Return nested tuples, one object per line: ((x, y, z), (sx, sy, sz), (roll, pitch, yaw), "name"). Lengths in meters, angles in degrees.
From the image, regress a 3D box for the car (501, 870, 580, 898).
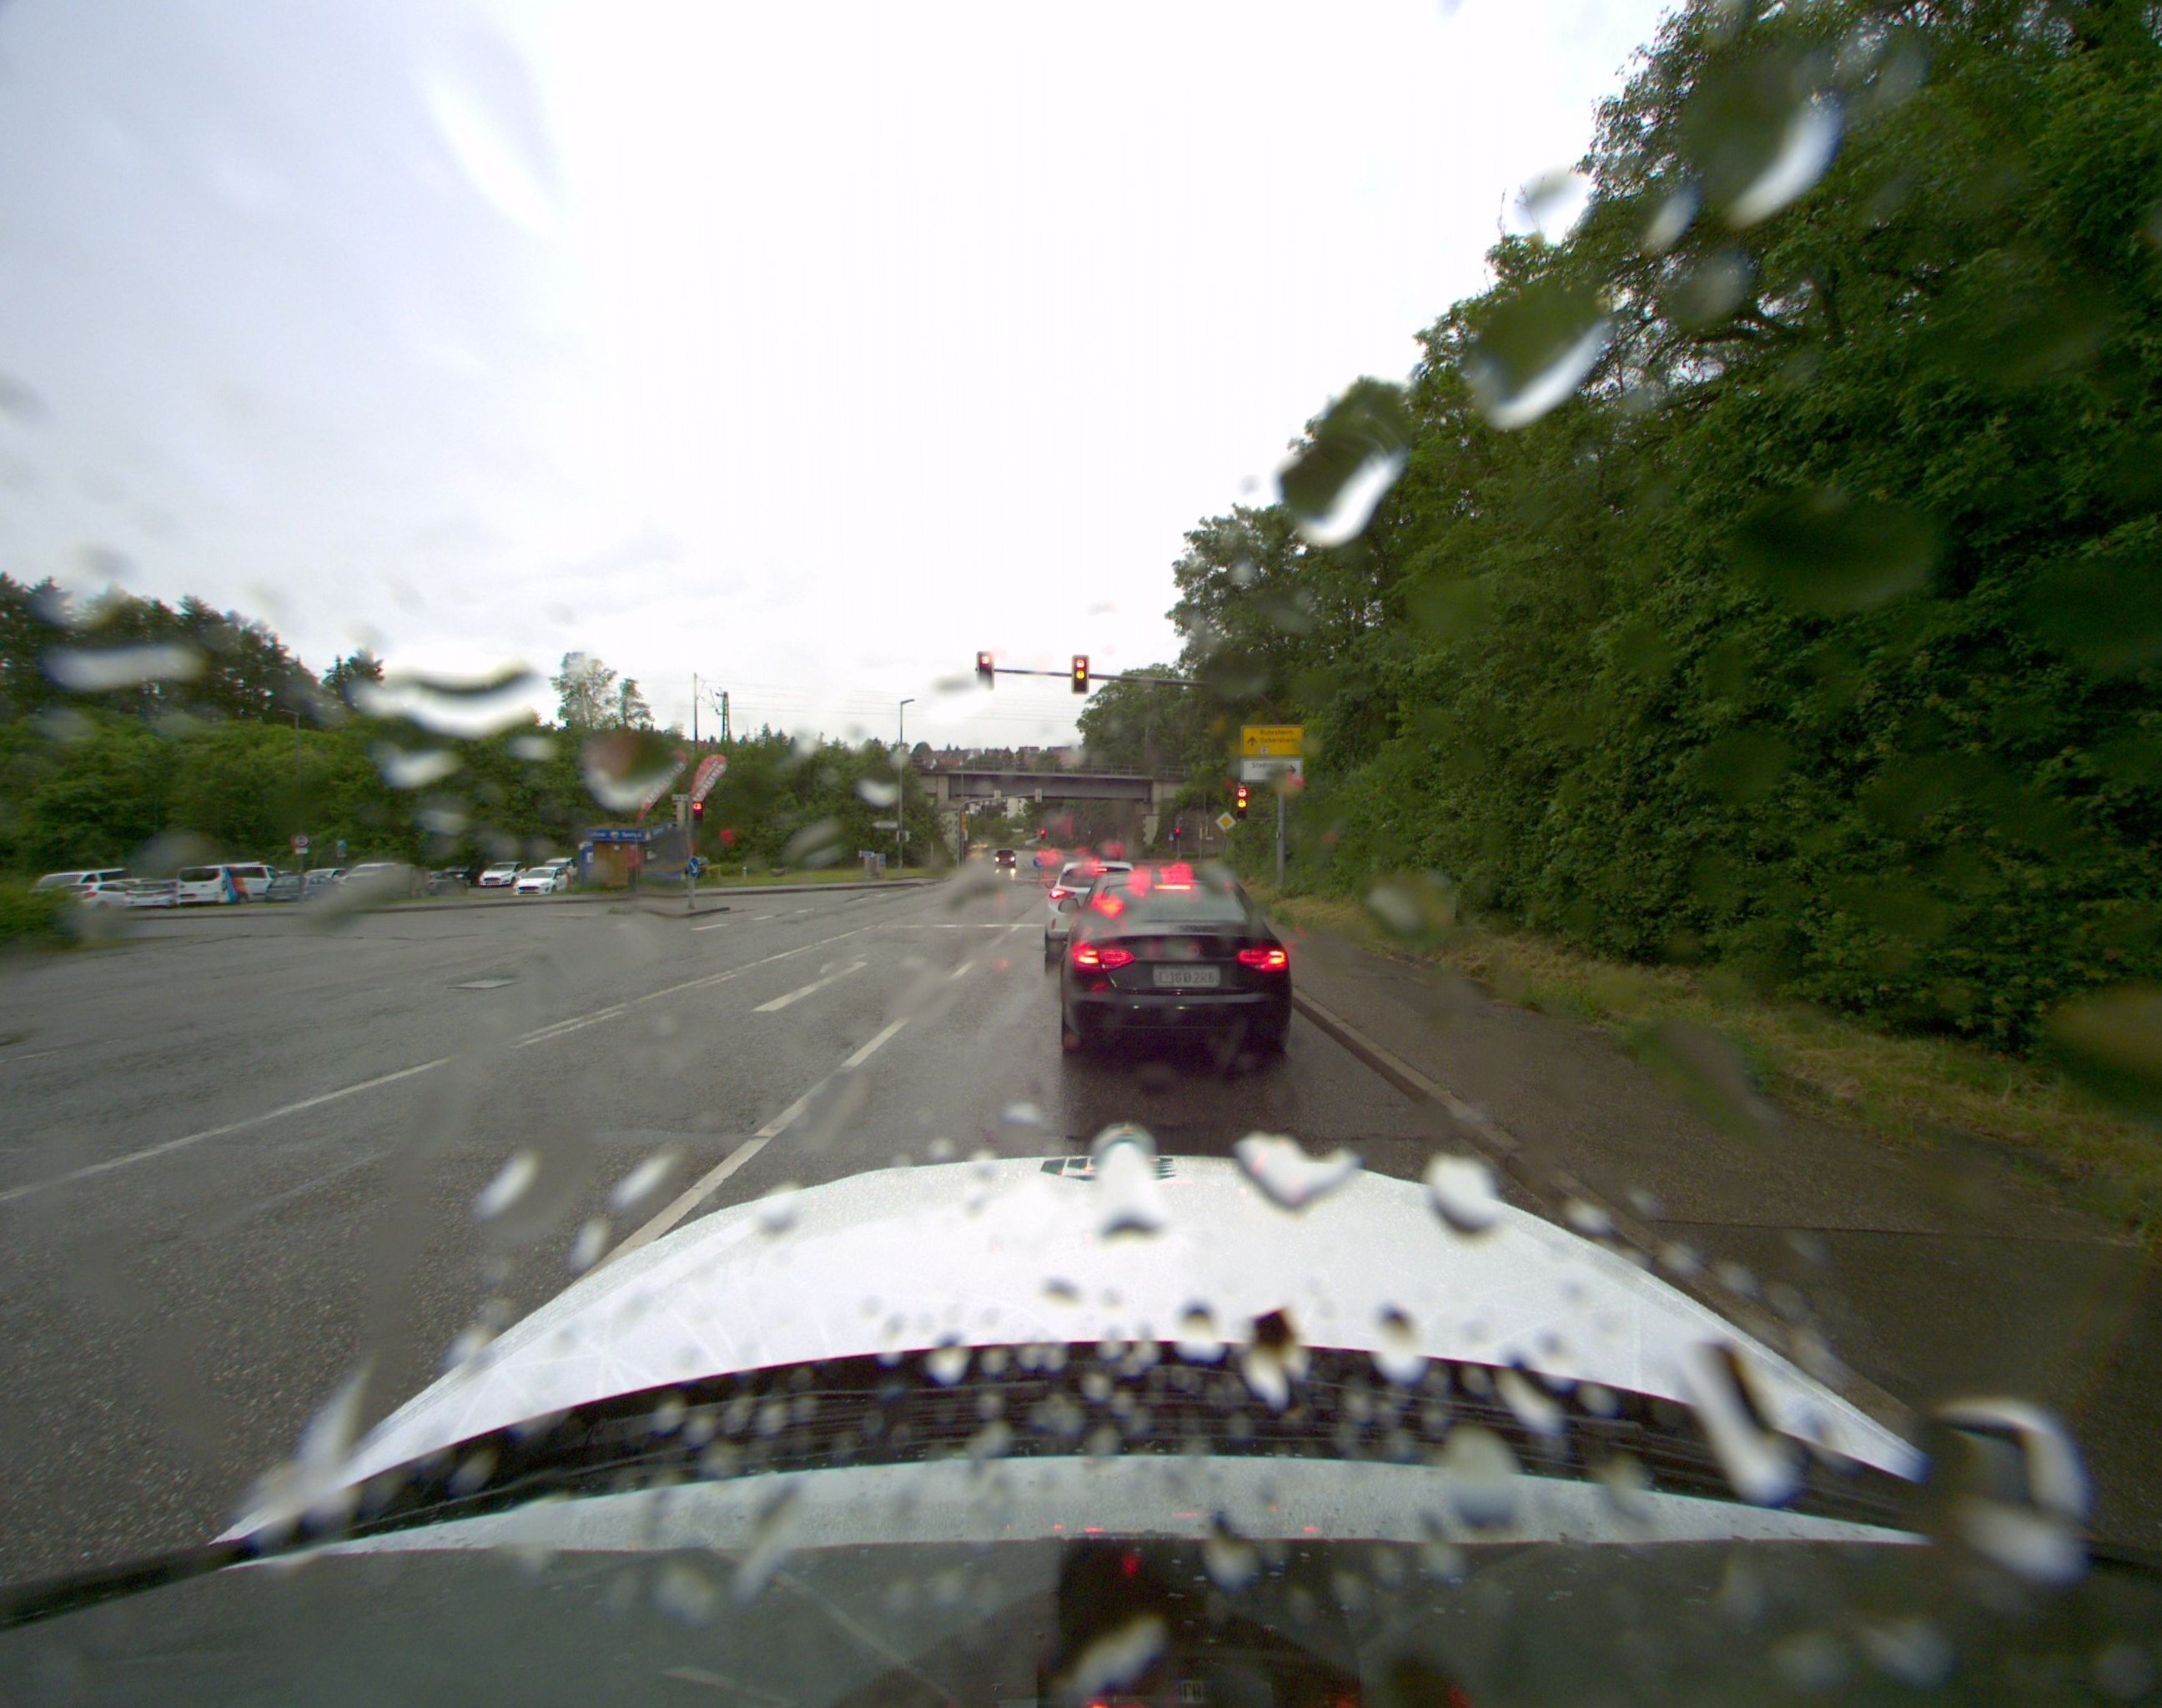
((-27.791, 1.510, 42.068), (1.652, 1.340, 4.883), (0, -1, -11), "car")

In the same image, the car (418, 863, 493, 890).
((-37.963, 1.364, 49.566), (1.994, 1.585, 3.984), (0, -1, -11), "car")

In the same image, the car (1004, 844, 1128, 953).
((-0.156, 0.698, 14.041), (1.816, 1.585, 4.001), (-1, -1, 2), "car")

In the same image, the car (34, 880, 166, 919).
((-44.378, 2.008, 36.998), (1.837, 1.585, 3.978), (0, -1, -16), "car")

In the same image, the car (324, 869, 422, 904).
((-34.628, 1.551, 39.979), (1.937, 1.585, 3.892), (0, -1, -11), "car")

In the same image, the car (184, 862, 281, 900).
((-49.356, 1.530, 47.495), (1.995, 2.013, 3.983), (-2, 0, -12), "car")

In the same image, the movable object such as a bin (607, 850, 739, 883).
((-22.057, 0.670, 44.188), (2.716, 1.628, 5.816), (-2, -1, 41), "movable object such as a bin")

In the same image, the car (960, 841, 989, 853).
((-15.914, -1.025, 121.900), (4.423, 1.742, 1.821), (-2, -2, 41), "car")

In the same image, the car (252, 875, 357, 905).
((-37.178, 1.703, 39.127), (1.751, 1.310, 3.984), (0, -1, -11), "car")

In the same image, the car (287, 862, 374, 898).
((-44.783, 1.522, 48.705), (1.995, 2.013, 3.983), (-2, 0, -12), "car")

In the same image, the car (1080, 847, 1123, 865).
((1.939, 0.244, 76.887), (2.009, 1.596, 3.955), (-2, 0, -37), "car")

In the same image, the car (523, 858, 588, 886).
((-32.626, 1.077, 50.727), (1.994, 1.585, 3.985), (-2, 0, -11), "car")

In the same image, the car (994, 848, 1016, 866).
((-6.993, 0.261, 75.256), (1.990, 1.628, 3.993), (-1, 0, -5), "car")

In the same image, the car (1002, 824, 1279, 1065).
((0.463, 0.653, 7.542), (1.863, 1.617, 4.001), (-1, -1, 2), "car")

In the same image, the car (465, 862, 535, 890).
((-35.445, 1.339, 49.828), (1.994, 1.585, 3.984), (0, -1, -11), "car")

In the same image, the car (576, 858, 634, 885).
((-30.390, 1.078, 52.129), (1.994, 1.585, 3.985), (-2, 0, -11), "car")

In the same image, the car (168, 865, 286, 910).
((-39.457, 1.496, 37.784), (1.997, 1.949, 3.978), (0, -1, -16), "car")

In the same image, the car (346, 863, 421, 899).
((-42.183, 1.592, 49.383), (1.941, 2.013, 3.849), (0, 0, -15), "car")

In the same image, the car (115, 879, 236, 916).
((-41.743, 1.971, 37.706), (1.858, 1.585, 3.978), (0, -1, -16), "car")
